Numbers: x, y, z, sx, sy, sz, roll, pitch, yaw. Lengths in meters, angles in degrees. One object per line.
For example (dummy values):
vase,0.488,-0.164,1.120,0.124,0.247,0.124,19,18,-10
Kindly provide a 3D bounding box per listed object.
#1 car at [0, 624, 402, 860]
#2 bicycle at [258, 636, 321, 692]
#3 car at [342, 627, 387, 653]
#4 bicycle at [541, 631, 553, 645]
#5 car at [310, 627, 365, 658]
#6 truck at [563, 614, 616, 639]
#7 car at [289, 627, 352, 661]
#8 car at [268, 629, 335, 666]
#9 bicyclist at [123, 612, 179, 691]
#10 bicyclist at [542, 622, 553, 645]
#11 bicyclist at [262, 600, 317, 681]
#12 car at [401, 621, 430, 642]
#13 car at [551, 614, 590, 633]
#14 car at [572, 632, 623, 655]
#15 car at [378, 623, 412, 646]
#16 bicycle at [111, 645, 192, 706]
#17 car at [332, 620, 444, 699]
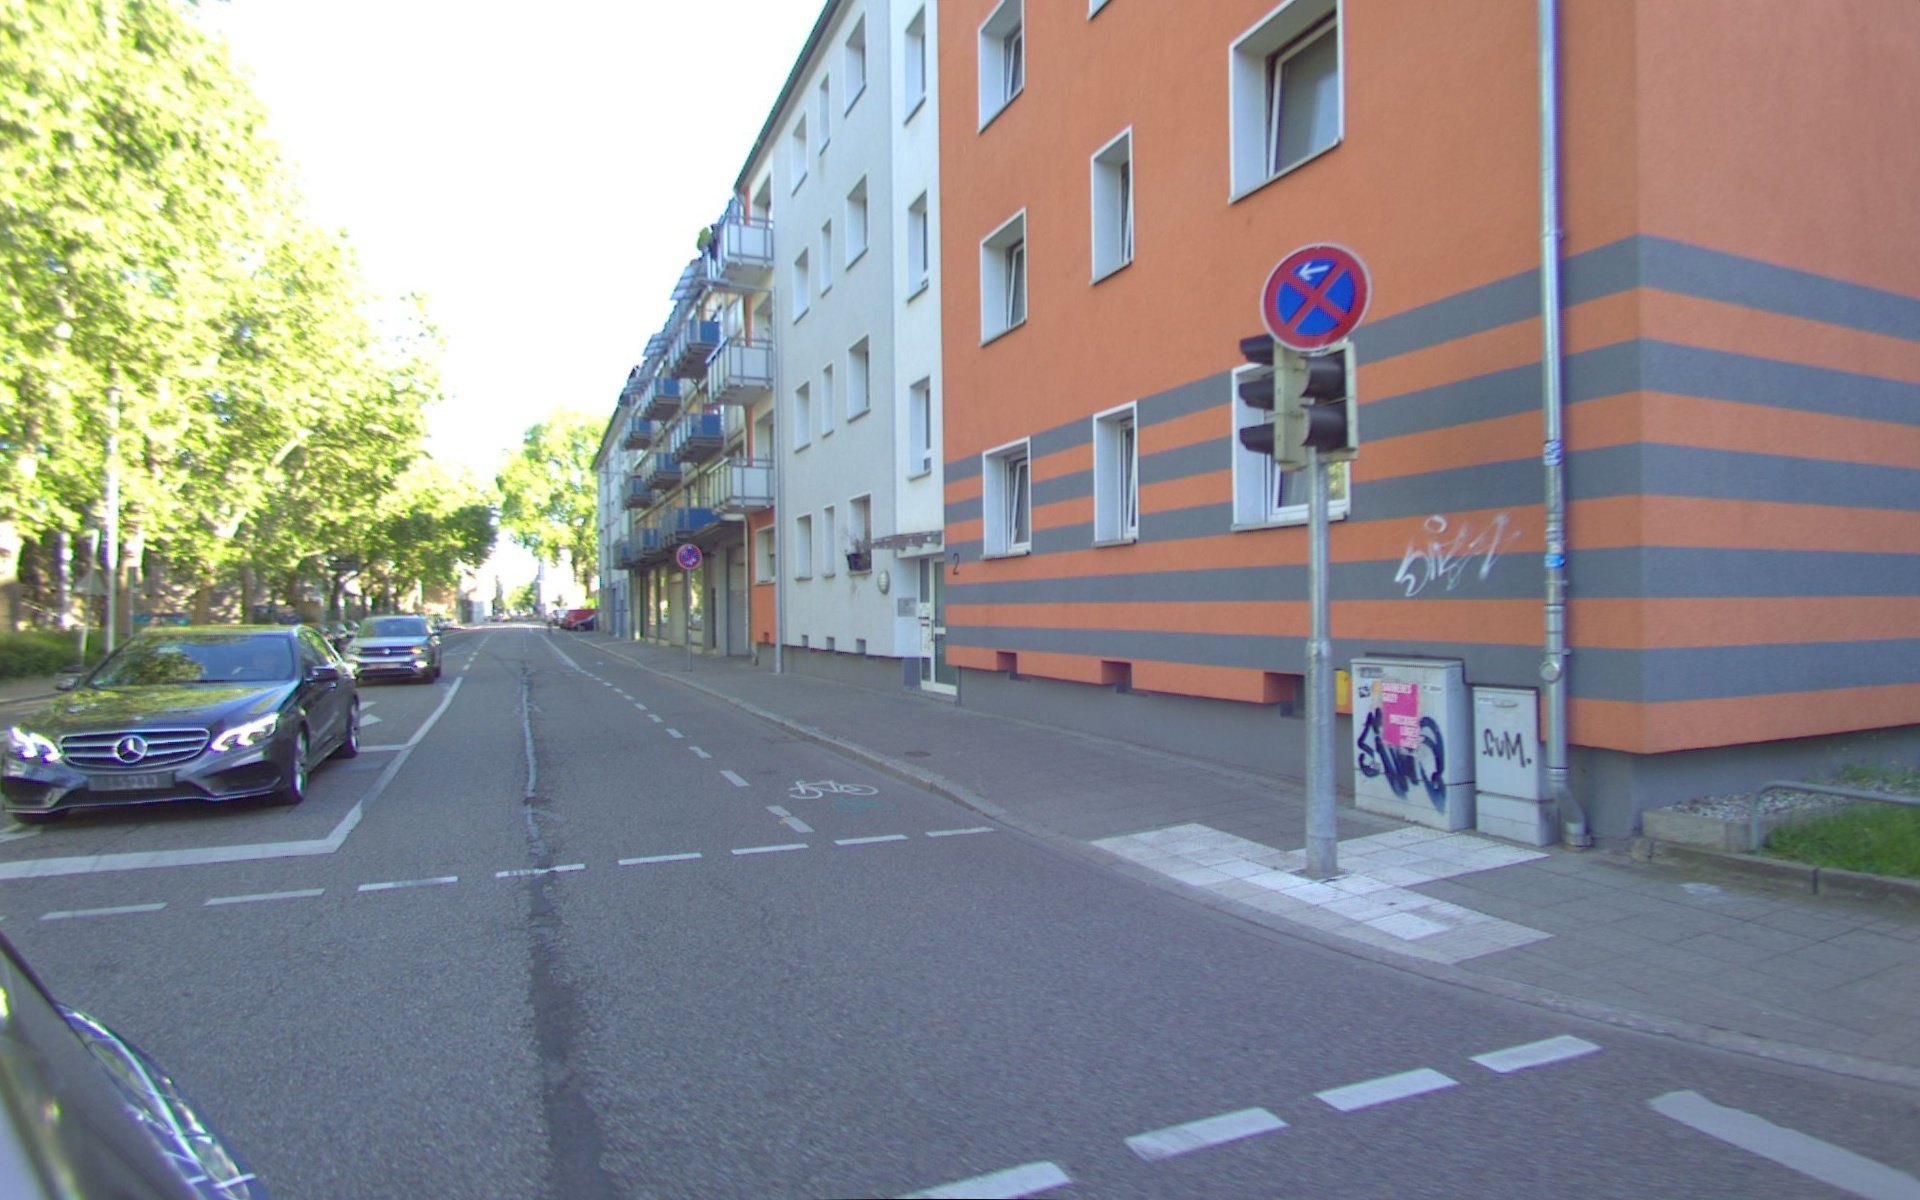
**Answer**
car,-6.612,1.017,9.280,1.769,1.479,4.734,-2,0,-19
bicycle,-15.458,1.443,23.397,0.757,1.144,2.824,-2,-1,-25
car,-35.966,2.369,61.212,1.867,1.462,4.090,-1,-1,-23
bicycle,-31.077,2.848,76.186,0.680,0.993,2.641,-1,0,-25
car,-32.257,2.164,52.554,1.867,1.462,4.090,-1,-1,-23
truck,-33.679,2.363,92.000,4.330,2.174,1.884,-1,-1,-26
car,-29.964,2.023,47.534,1.867,1.458,4.090,-1,-1,-23
car,-28.029,1.980,43.211,1.867,1.454,4.090,0,-1,-25
bicyclist,-18.171,1.145,22.744,0.757,1.692,0.899,-2,-1,-25
bicyclist,-31.090,2.512,76.229,0.680,1.643,0.761,-1,0,-25
bicyclist,-15.510,0.918,23.435,0.758,1.745,0.904,-7,2,-25
car,-49.337,2.834,91.757,1.867,1.832,4.090,-1,-1,-23
car,-44.288,2.621,115.061,3.931,2.029,2.007,-1,-1,-26
car,-31.236,3.711,87.256,3.931,1.849,1.837,-1,-1,-26
car,-43.098,2.592,77.241,1.867,1.664,4.090,-1,-1,-23
bicycle,-18.189,1.656,22.839,0.757,1.144,2.825,-2,1,-25
car,-13.071,1.290,23.336,1.718,1.616,4.013,0,-1,-22
